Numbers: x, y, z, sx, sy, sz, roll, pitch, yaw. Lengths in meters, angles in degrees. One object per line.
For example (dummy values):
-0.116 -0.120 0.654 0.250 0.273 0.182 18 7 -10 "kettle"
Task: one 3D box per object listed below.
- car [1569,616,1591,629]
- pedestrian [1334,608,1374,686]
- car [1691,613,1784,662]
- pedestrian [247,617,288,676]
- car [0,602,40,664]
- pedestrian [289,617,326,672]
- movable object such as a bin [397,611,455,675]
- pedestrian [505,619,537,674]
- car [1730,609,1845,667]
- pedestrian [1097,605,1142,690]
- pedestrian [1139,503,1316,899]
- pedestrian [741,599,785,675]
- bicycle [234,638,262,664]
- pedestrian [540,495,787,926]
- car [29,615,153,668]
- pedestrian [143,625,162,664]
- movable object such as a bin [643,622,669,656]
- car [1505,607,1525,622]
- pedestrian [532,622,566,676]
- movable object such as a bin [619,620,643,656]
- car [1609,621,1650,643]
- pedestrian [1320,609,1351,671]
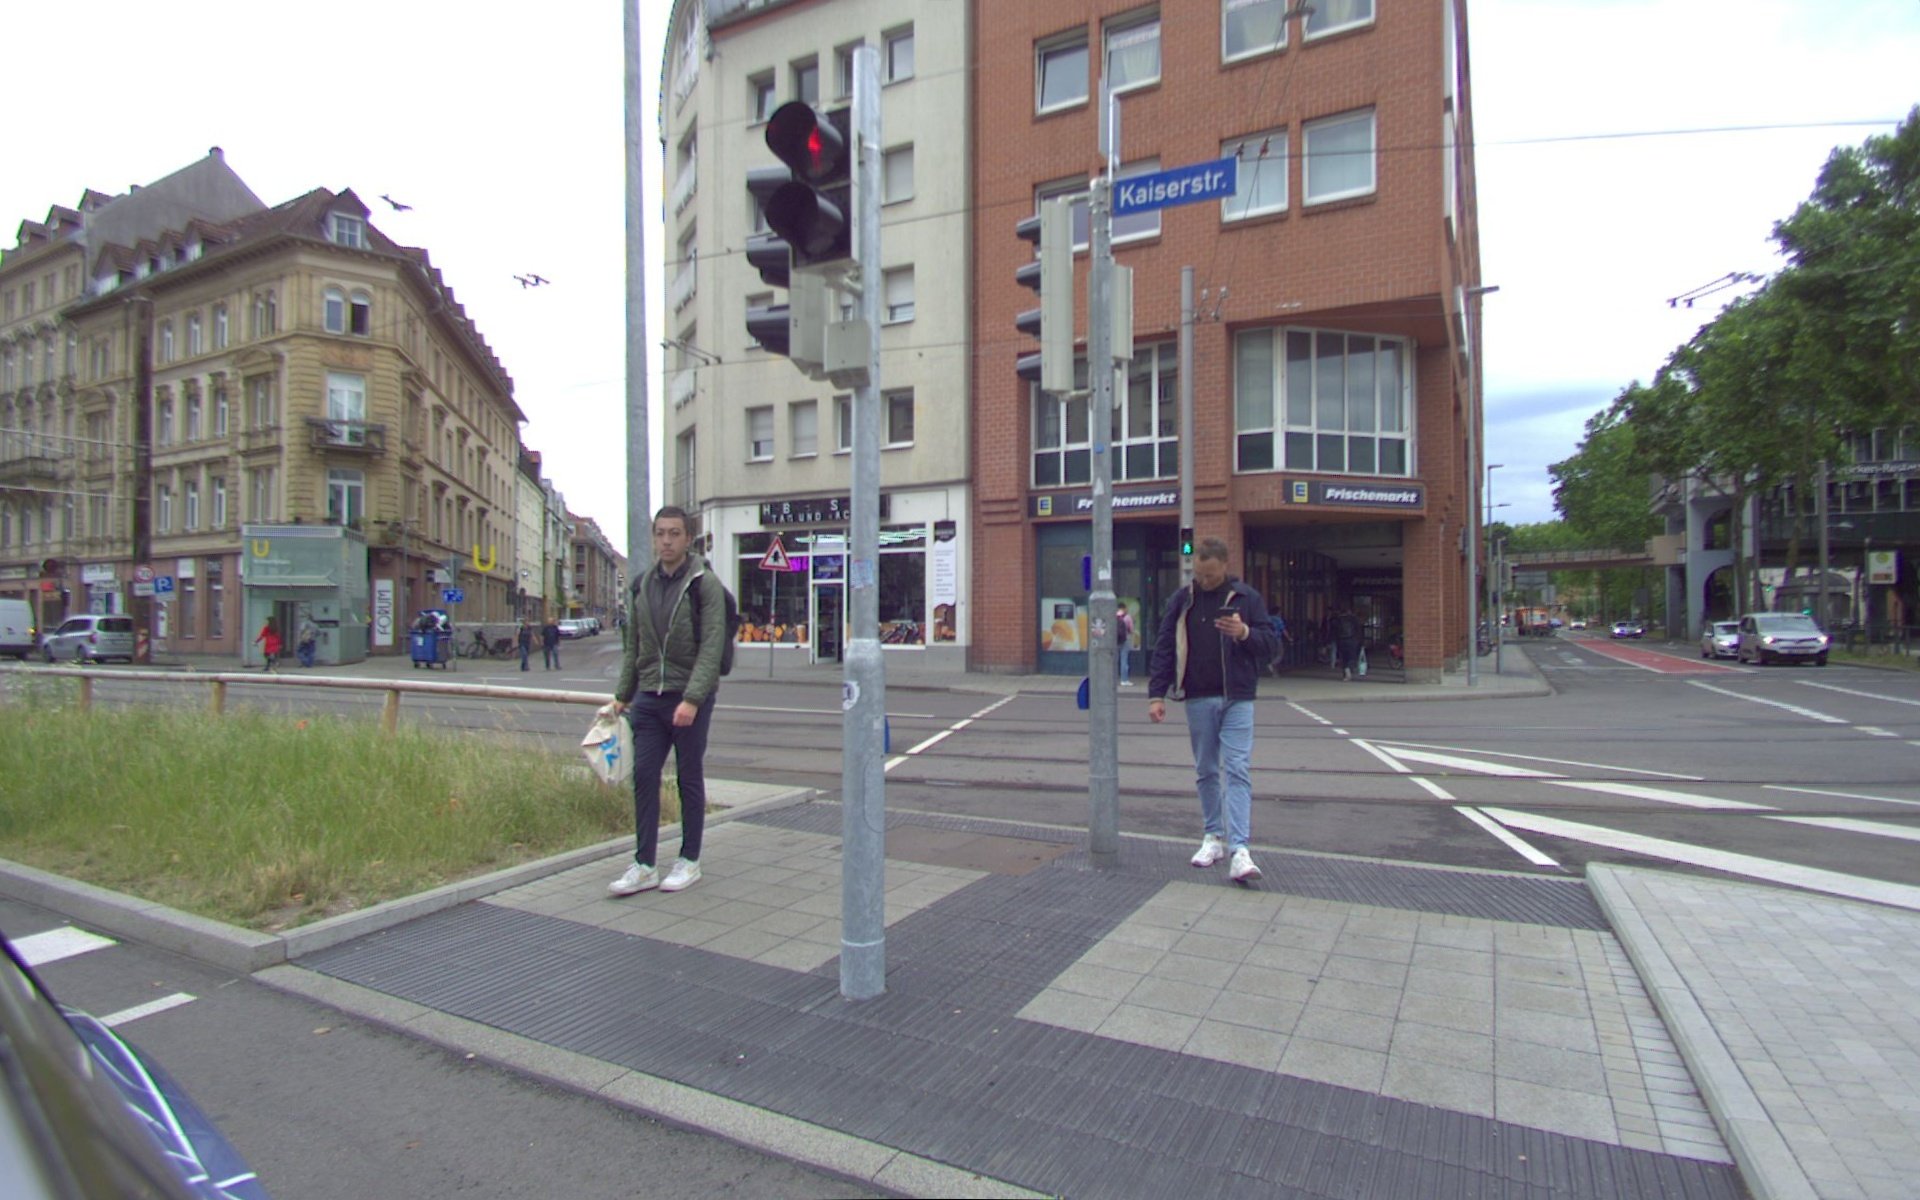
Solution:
75.657 2.767 123.561 1.668 1.559 3.677 -1 -2 23 "car"
8.836 1.037 22.693 0.794 1.696 0.740 0 0 24 "pedestrian"
30.416 1.456 39.744 1.916 1.807 3.968 -1 -2 23 "car"
-20.598 1.368 30.099 0.657 1.700 0.718 1 -1 19 "pedestrian"
-41.174 1.384 42.352 5.639 2.506 2.040 -1 -4 28 "car"
-20.693 1.392 32.083 0.813 1.700 0.723 2 -2 -44 "pedestrian"
-17.386 1.369 32.960 1.614 1.996 1.022 0 -1 35 "movable object such as a bin"
-13.842 1.467 31.928 0.723 1.700 0.652 0 -2 44 "pedestrian"
27.605 1.253 33.919 1.916 1.807 3.968 -1 -2 23 "car"
3.278 0.953 20.763 0.794 1.696 0.566 0 0 25 "pedestrian"
1.418 0.488 5.325 0.795 1.904 0.607 0 -1 27 "pedestrian"
-4.478 0.831 23.030 0.716 1.700 0.658 1 -1 16 "pedestrian"
-27.020 1.931 38.405 1.684 0.966 0.337 -1 -1 36 "bicycle"
-1.450 0.483 5.046 0.795 1.904 0.891 0 0 26 "pedestrian"
-32.073 1.532 37.328 4.498 1.879 1.891 -1 -3 27 "car"
-32.635 1.784 40.885 0.547 1.568 0.658 0 -1 -44 "pedestrian"
-13.127 1.662 43.652 0.993 1.416 1.243 -1 -1 -20 "movable object such as a bin"
65.320 1.724 119.170 1.919 1.807 3.670 -1 -2 28 "car"
-13.223 1.554 32.556 0.924 1.700 0.652 0 -2 44 "pedestrian"
-14.124 1.623 43.397 0.930 1.512 1.243 -1 -1 -20 "movable object such as a bin"
50.598 2.423 76.547 1.916 1.575 3.839 -1 -2 23 "car"
10.633 1.114 28.644 0.794 1.696 0.740 0 0 24 "pedestrian"
